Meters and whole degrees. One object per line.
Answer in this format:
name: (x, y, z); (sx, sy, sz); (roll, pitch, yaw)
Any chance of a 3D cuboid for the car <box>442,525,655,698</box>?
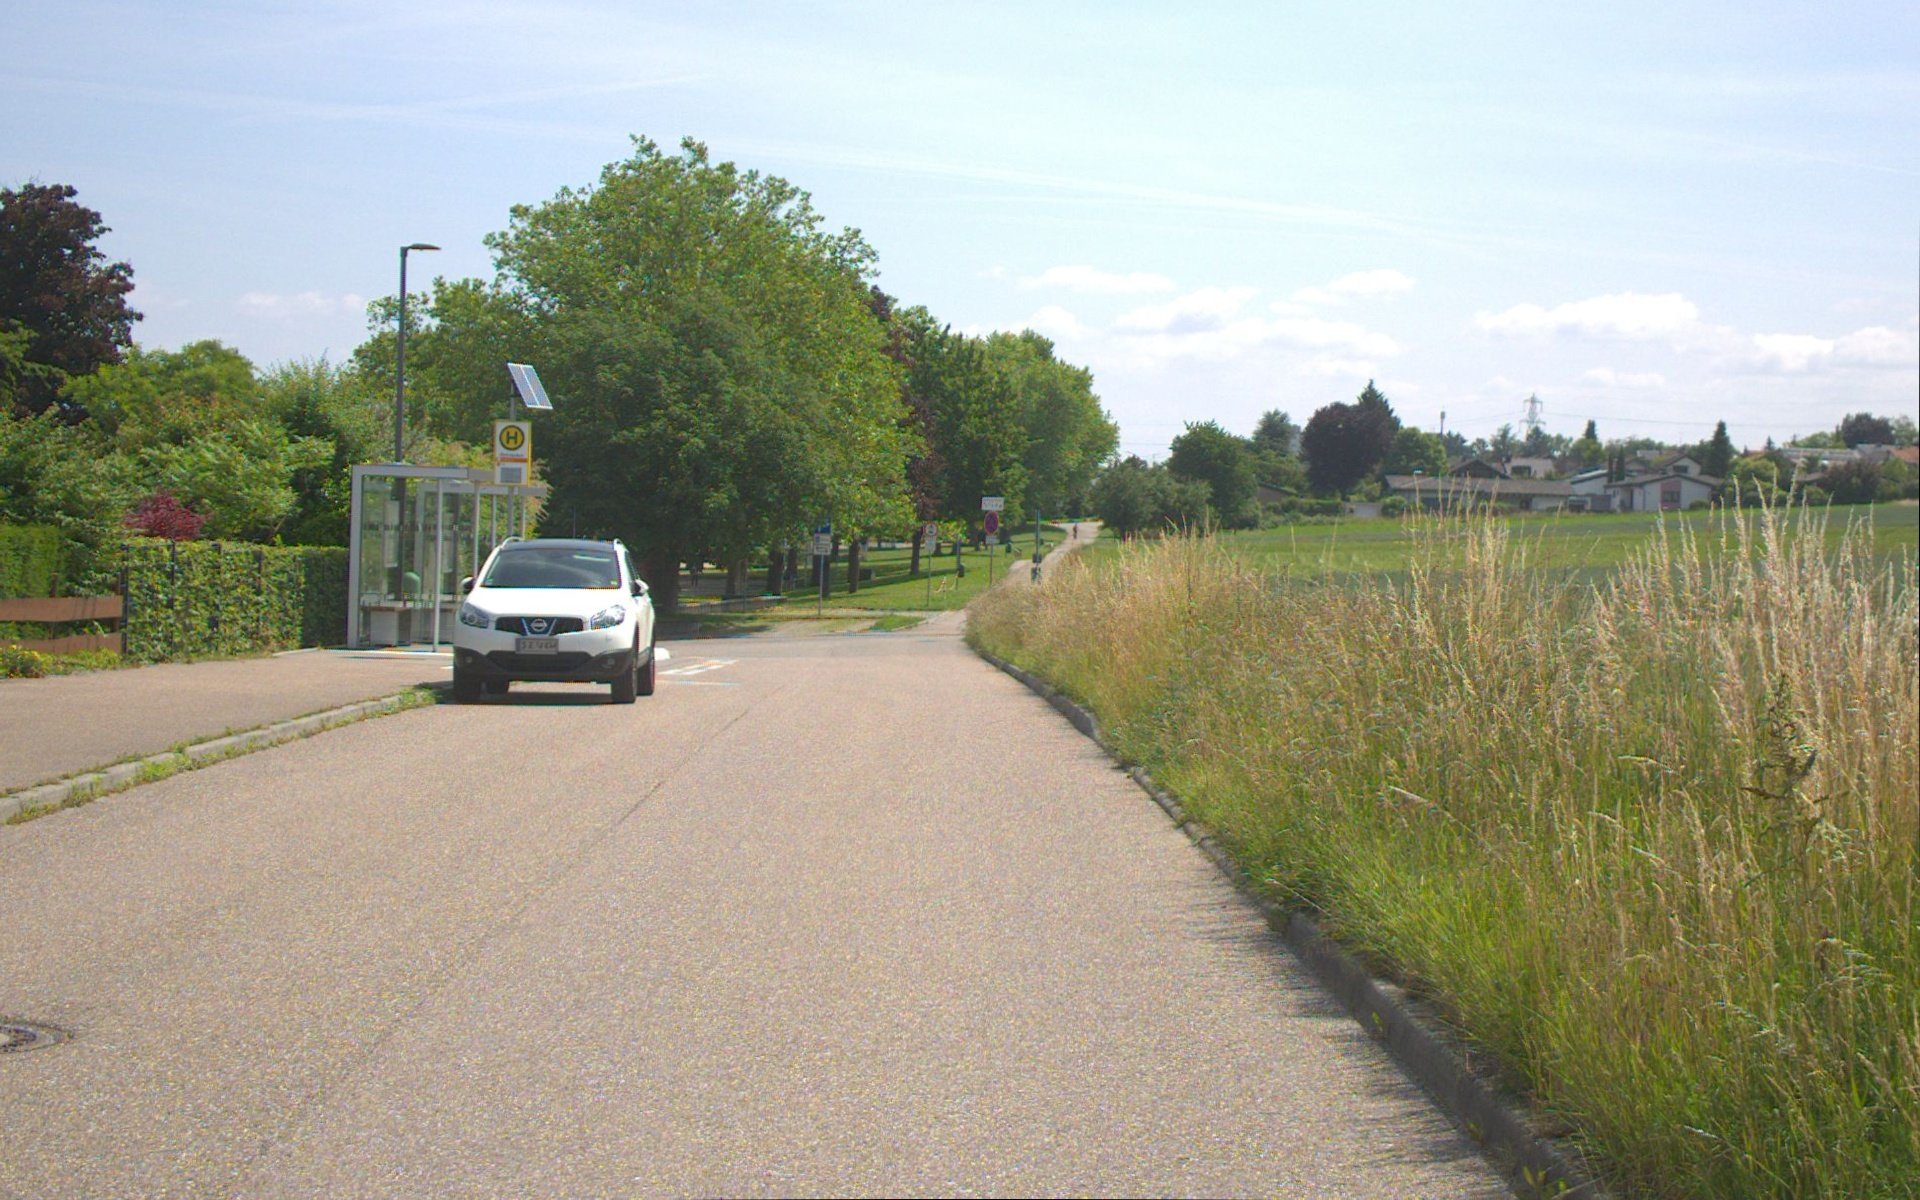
car: (-4.115, 0.105, 34.953); (1.734, 1.628, 4.353); (1, 0, -2)
